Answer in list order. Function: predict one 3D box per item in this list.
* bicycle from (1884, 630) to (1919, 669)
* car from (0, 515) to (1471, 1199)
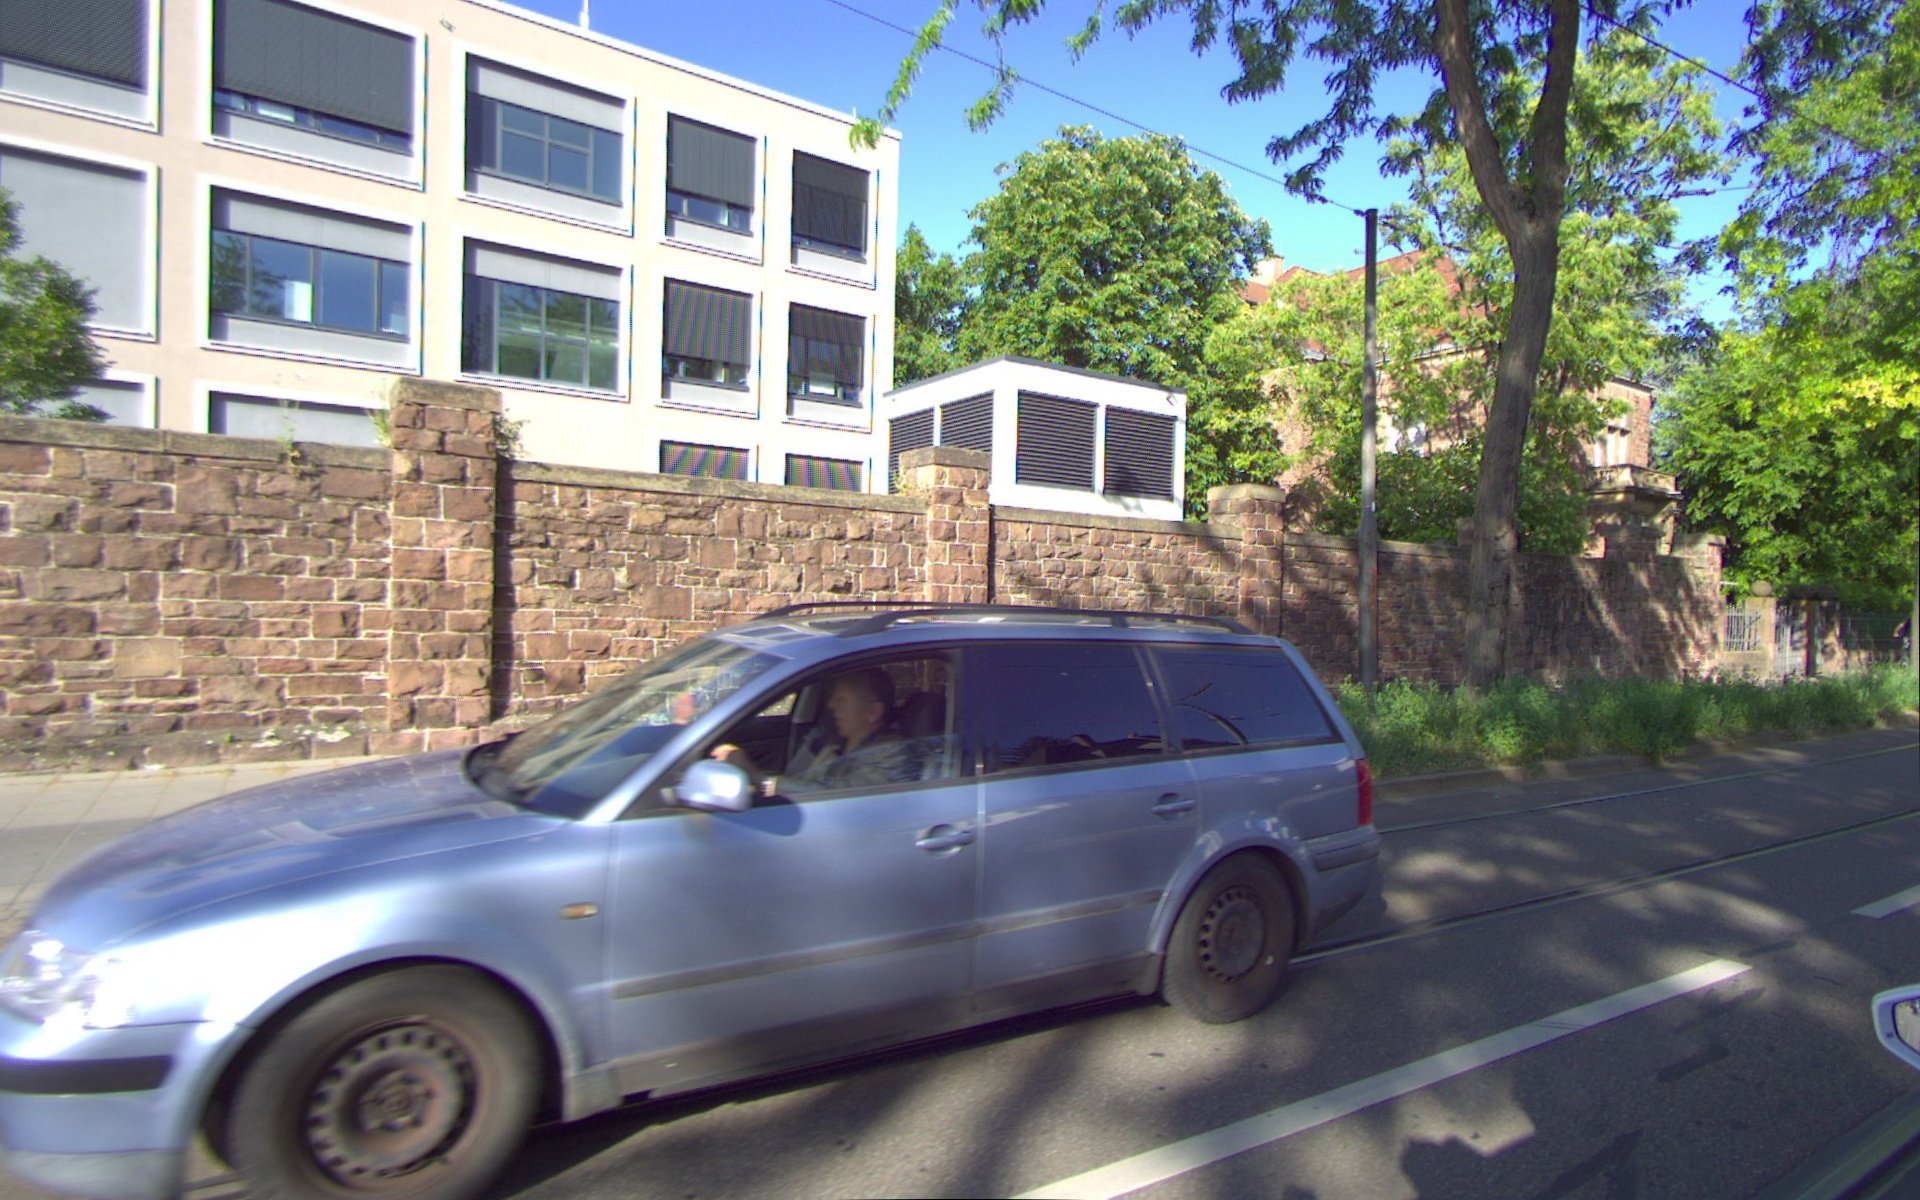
[{"bbox_3d":[24.827,1.275,26.089,2.072,0.973,0.707,1,0,-33],"label":"bicycle"},{"bbox_3d":[-0.383,0.648,3.775,4.527,1.544,1.983,1,1,-31],"label":"car"}]
